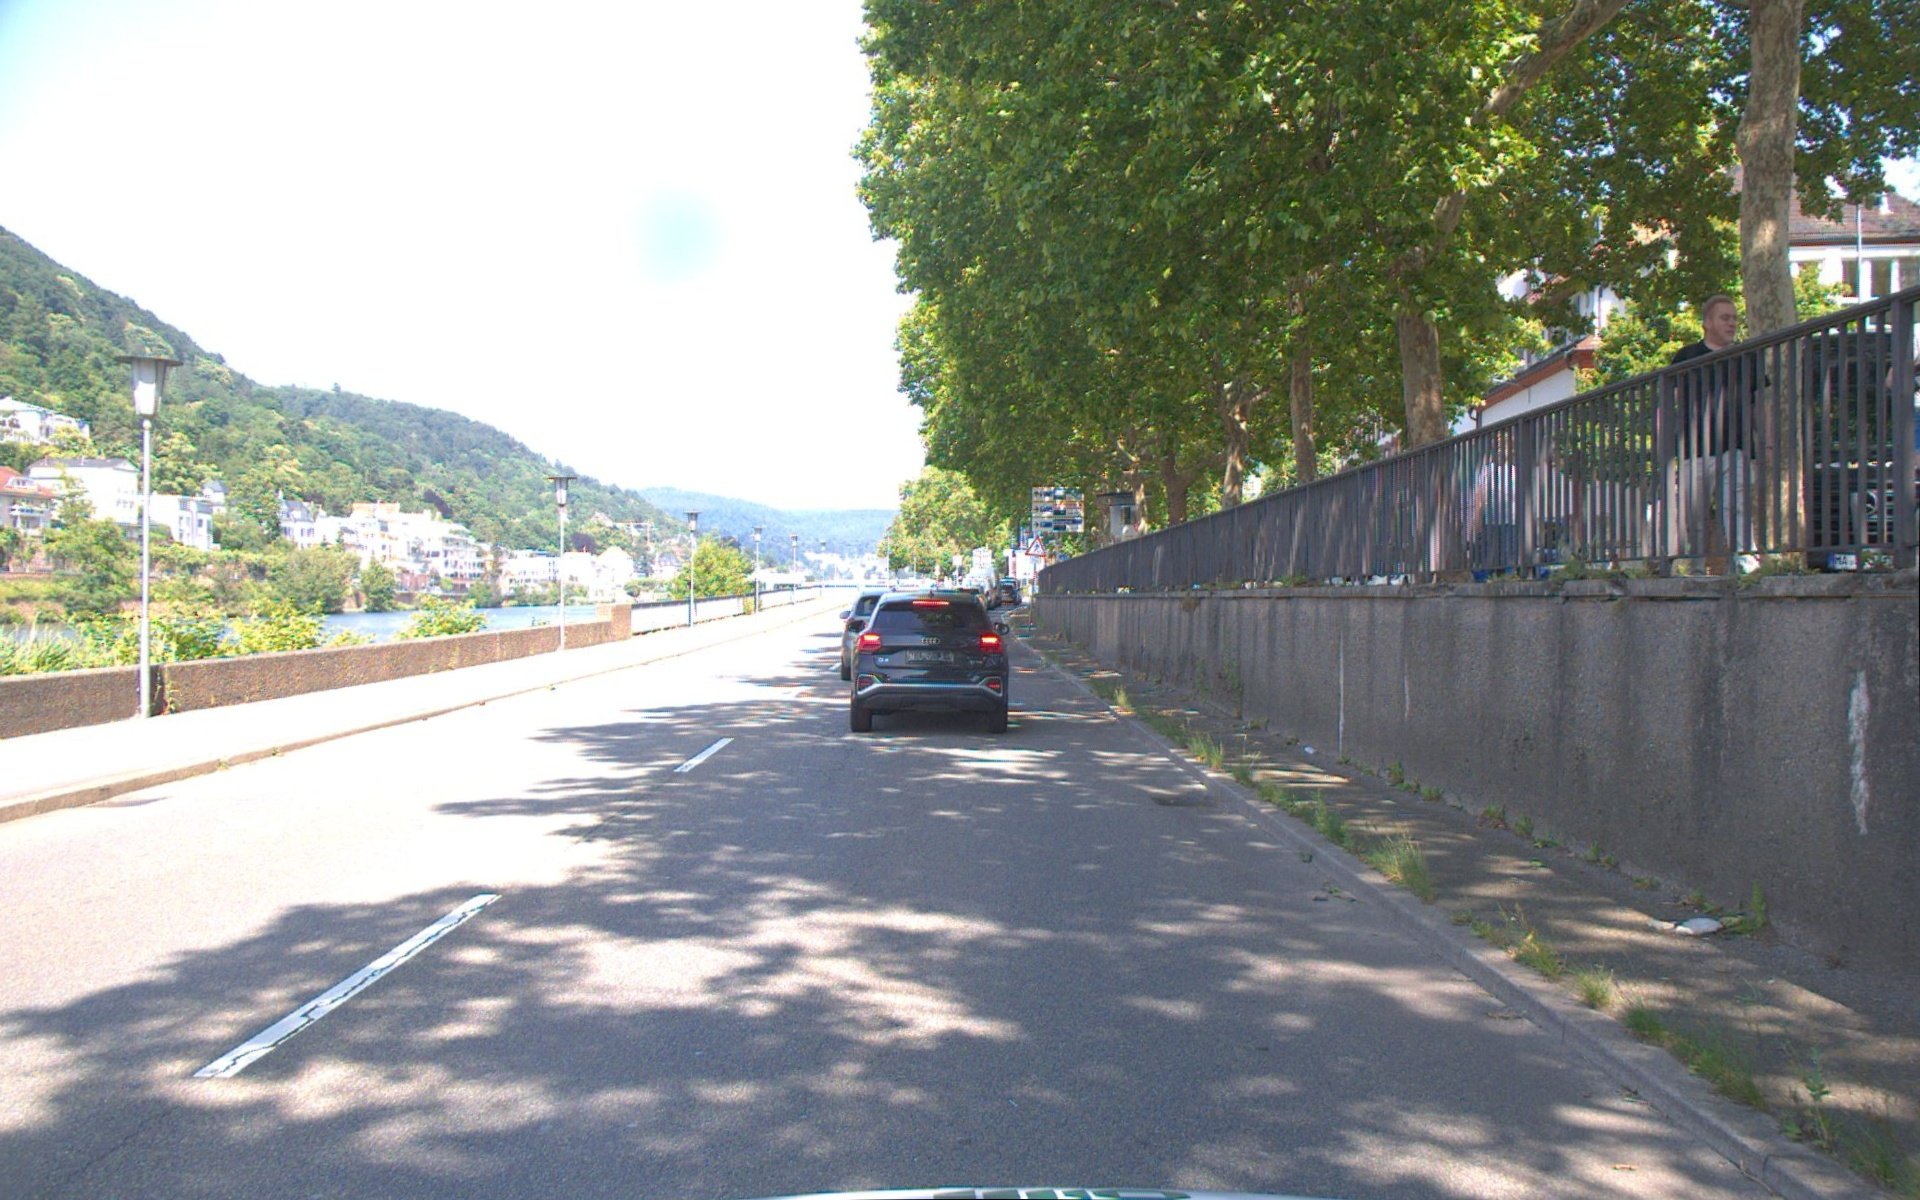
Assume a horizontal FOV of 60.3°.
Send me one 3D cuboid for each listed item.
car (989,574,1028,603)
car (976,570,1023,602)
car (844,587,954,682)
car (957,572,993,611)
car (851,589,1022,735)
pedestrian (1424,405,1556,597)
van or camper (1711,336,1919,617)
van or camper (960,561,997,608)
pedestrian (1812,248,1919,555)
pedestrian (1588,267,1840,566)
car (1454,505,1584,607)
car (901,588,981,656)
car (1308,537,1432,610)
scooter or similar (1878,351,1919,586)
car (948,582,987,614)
[{"bbox_3d":[3.651,-0.892,126.362,2.608,2.048,5.823,-3,0,-1],"label":"car"},{"bbox_3d":[2.770,-0.977,117.717,3.036,2.048,5.823,-3,0,-1],"label":"car"},{"bbox_3d":[-1.050,0.556,29.347,1.791,1.537,3.999,1,0,-1],"label":"car"},{"bbox_3d":[0.866,-0.496,99.196,1.953,2.207,3.999,-3,0,-1],"label":"car"},{"bbox_3d":[-0.293,0.643,19.480,1.791,1.512,3.999,1,0,-1],"label":"car"},{"bbox_3d":[4.225,-0.768,13.238,0.666,1.449,0.949,-3,0,-1],"label":"pedestrian"},{"bbox_3d":[9.503,-1.041,17.509,2.293,2.222,7.345,2,-1,28],"label":"van or camper"},{"bbox_3d":[1.234,-0.998,108.006,2.262,2.897,4.246,-3,0,1],"label":"van or camper"},{"bbox_3d":[4.755,-0.940,8.018,0.666,1.389,0.989,-3,0,-1],"label":"pedestrian"},{"bbox_3d":[4.400,-1.035,9.729,0.918,1.607,1.027,-3,0,-3],"label":"pedestrian"},{"bbox_3d":[9.063,-0.652,26.636,1.616,1.526,3.815,0,0,24],"label":"car"},{"bbox_3d":[-0.467,0.479,39.132,1.791,1.512,3.999,1,0,-1],"label":"car"},{"bbox_3d":[8.949,-0.560,35.891,1.740,1.495,3.995,1,0,27],"label":"car"},{"bbox_3d":[4.717,-0.609,7.134,0.838,1.044,1.107,-3,0,-2],"label":"scooter or similar"},{"bbox_3d":[0.335,-0.108,80.863,1.791,1.470,3.999,1,0,-1],"label":"car"}]
